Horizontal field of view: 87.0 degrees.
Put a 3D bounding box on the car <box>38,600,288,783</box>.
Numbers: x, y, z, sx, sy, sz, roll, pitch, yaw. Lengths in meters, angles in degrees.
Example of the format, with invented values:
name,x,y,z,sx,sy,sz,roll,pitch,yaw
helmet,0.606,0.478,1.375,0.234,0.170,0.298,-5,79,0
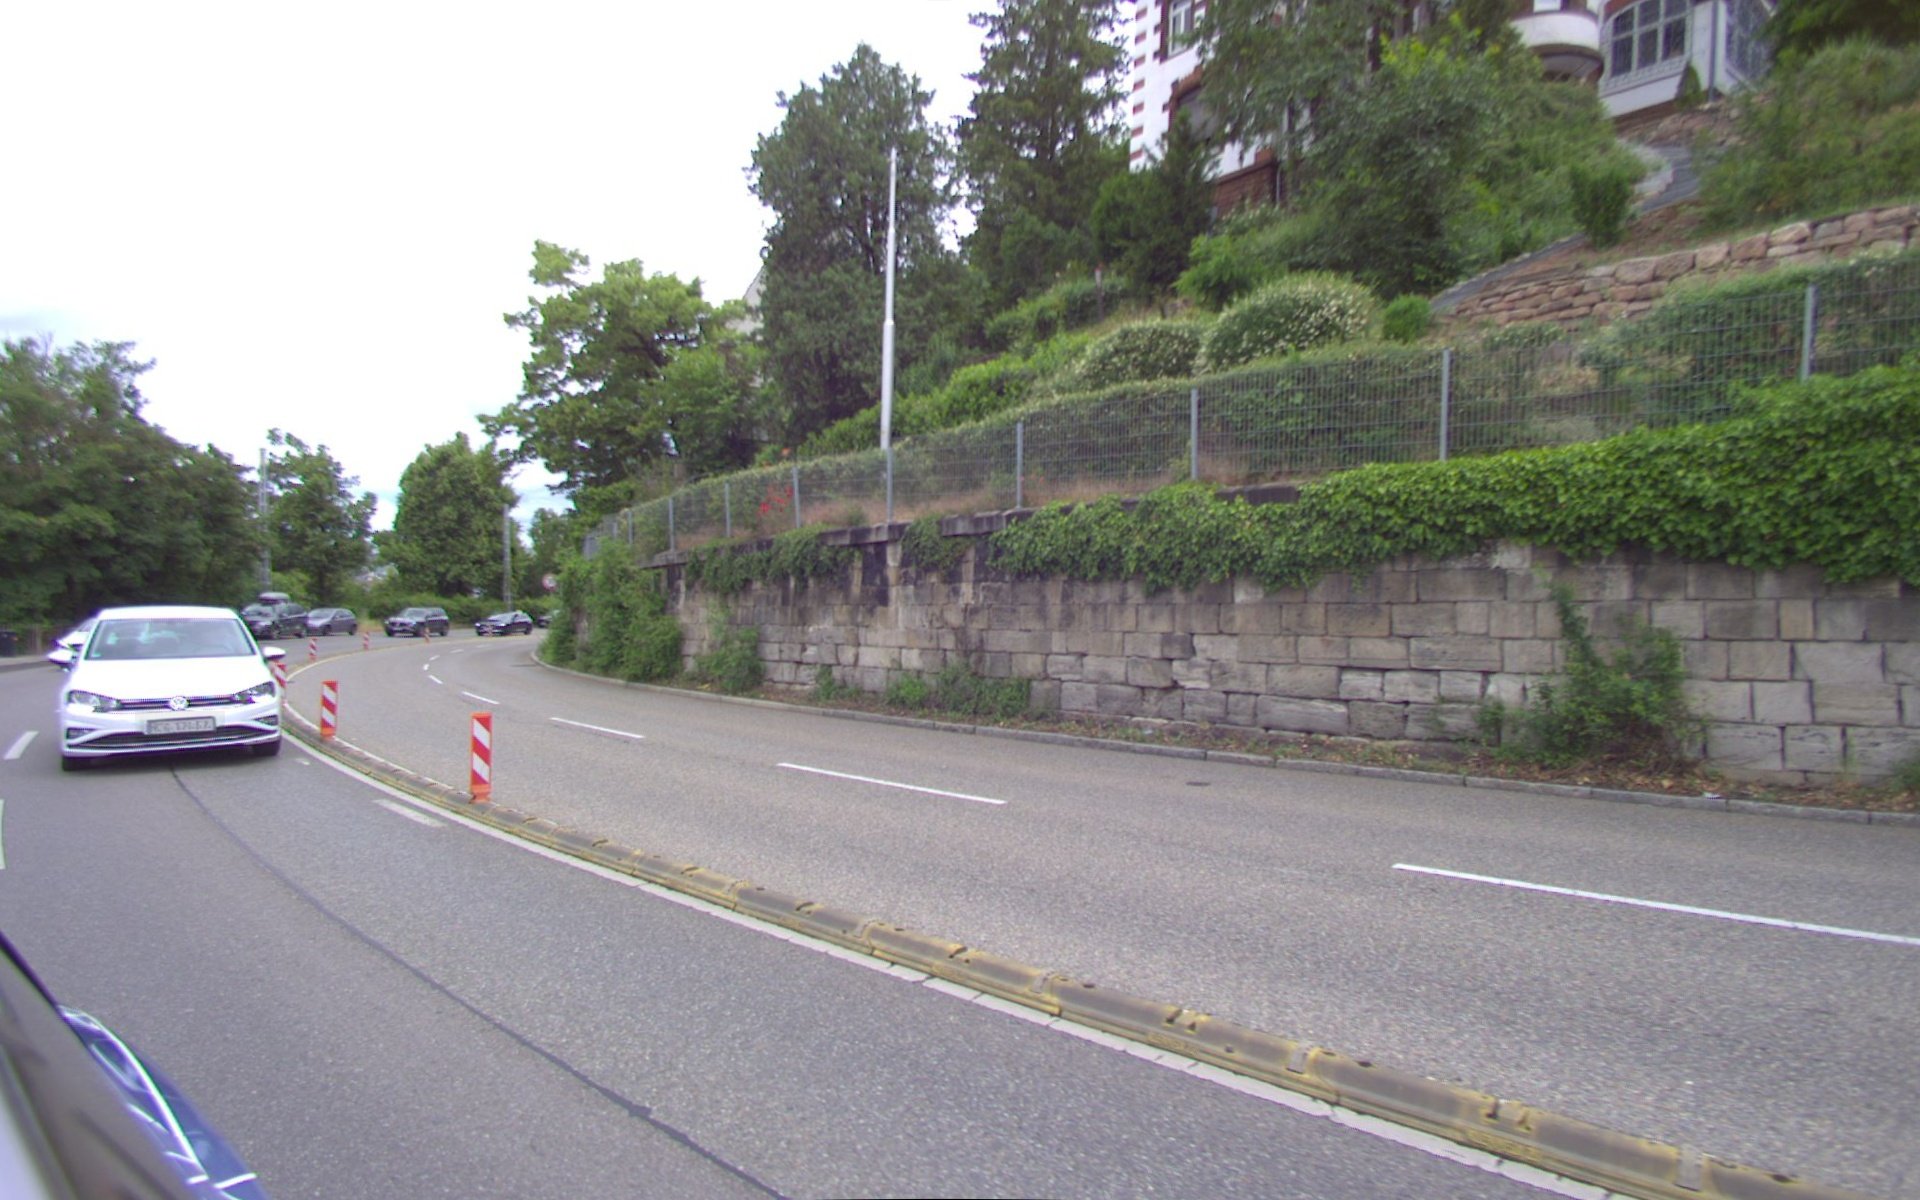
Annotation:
name,x,y,z,sx,sy,sz,roll,pitch,yaw
car,-8.779,0.836,11.098,1.798,1.592,4.362,2,-2,-41

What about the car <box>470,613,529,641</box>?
name,x,y,z,sx,sy,sz,roll,pitch,yaw
car,-28.310,1.620,62.330,1.897,1.505,4.145,0,1,-3

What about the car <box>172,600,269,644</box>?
name,x,y,z,sx,sy,sz,roll,pitch,yaw
car,-31.137,0.971,42.735,1.672,1.533,3.927,10,-4,-12

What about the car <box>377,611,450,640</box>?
name,x,y,z,sx,sy,sz,roll,pitch,yaw
car,-30.601,1.417,56.824,1.875,1.505,4.141,0,0,0

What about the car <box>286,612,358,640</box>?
name,x,y,z,sx,sy,sz,roll,pitch,yaw
car,-33.410,1.349,53.117,1.903,1.444,4.009,1,-1,-11

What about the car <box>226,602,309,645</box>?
name,x,y,z,sx,sy,sz,roll,pitch,yaw
car,-32.200,1.080,47.198,1.671,1.845,4.415,3,-1,-13

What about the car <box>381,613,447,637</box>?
name,x,y,z,sx,sy,sz,roll,pitch,yaw
car,-34.542,1.583,64.143,1.909,1.444,3.996,1,-1,3

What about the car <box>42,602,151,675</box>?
name,x,y,z,sx,sy,sz,roll,pitch,yaw
car,-22.905,0.972,26.974,1.968,1.731,4.009,2,-1,-38

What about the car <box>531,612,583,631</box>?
name,x,y,z,sx,sy,sz,roll,pitch,yaw
car,-31.953,1.728,80.351,1.915,1.444,4.081,0,-1,13
